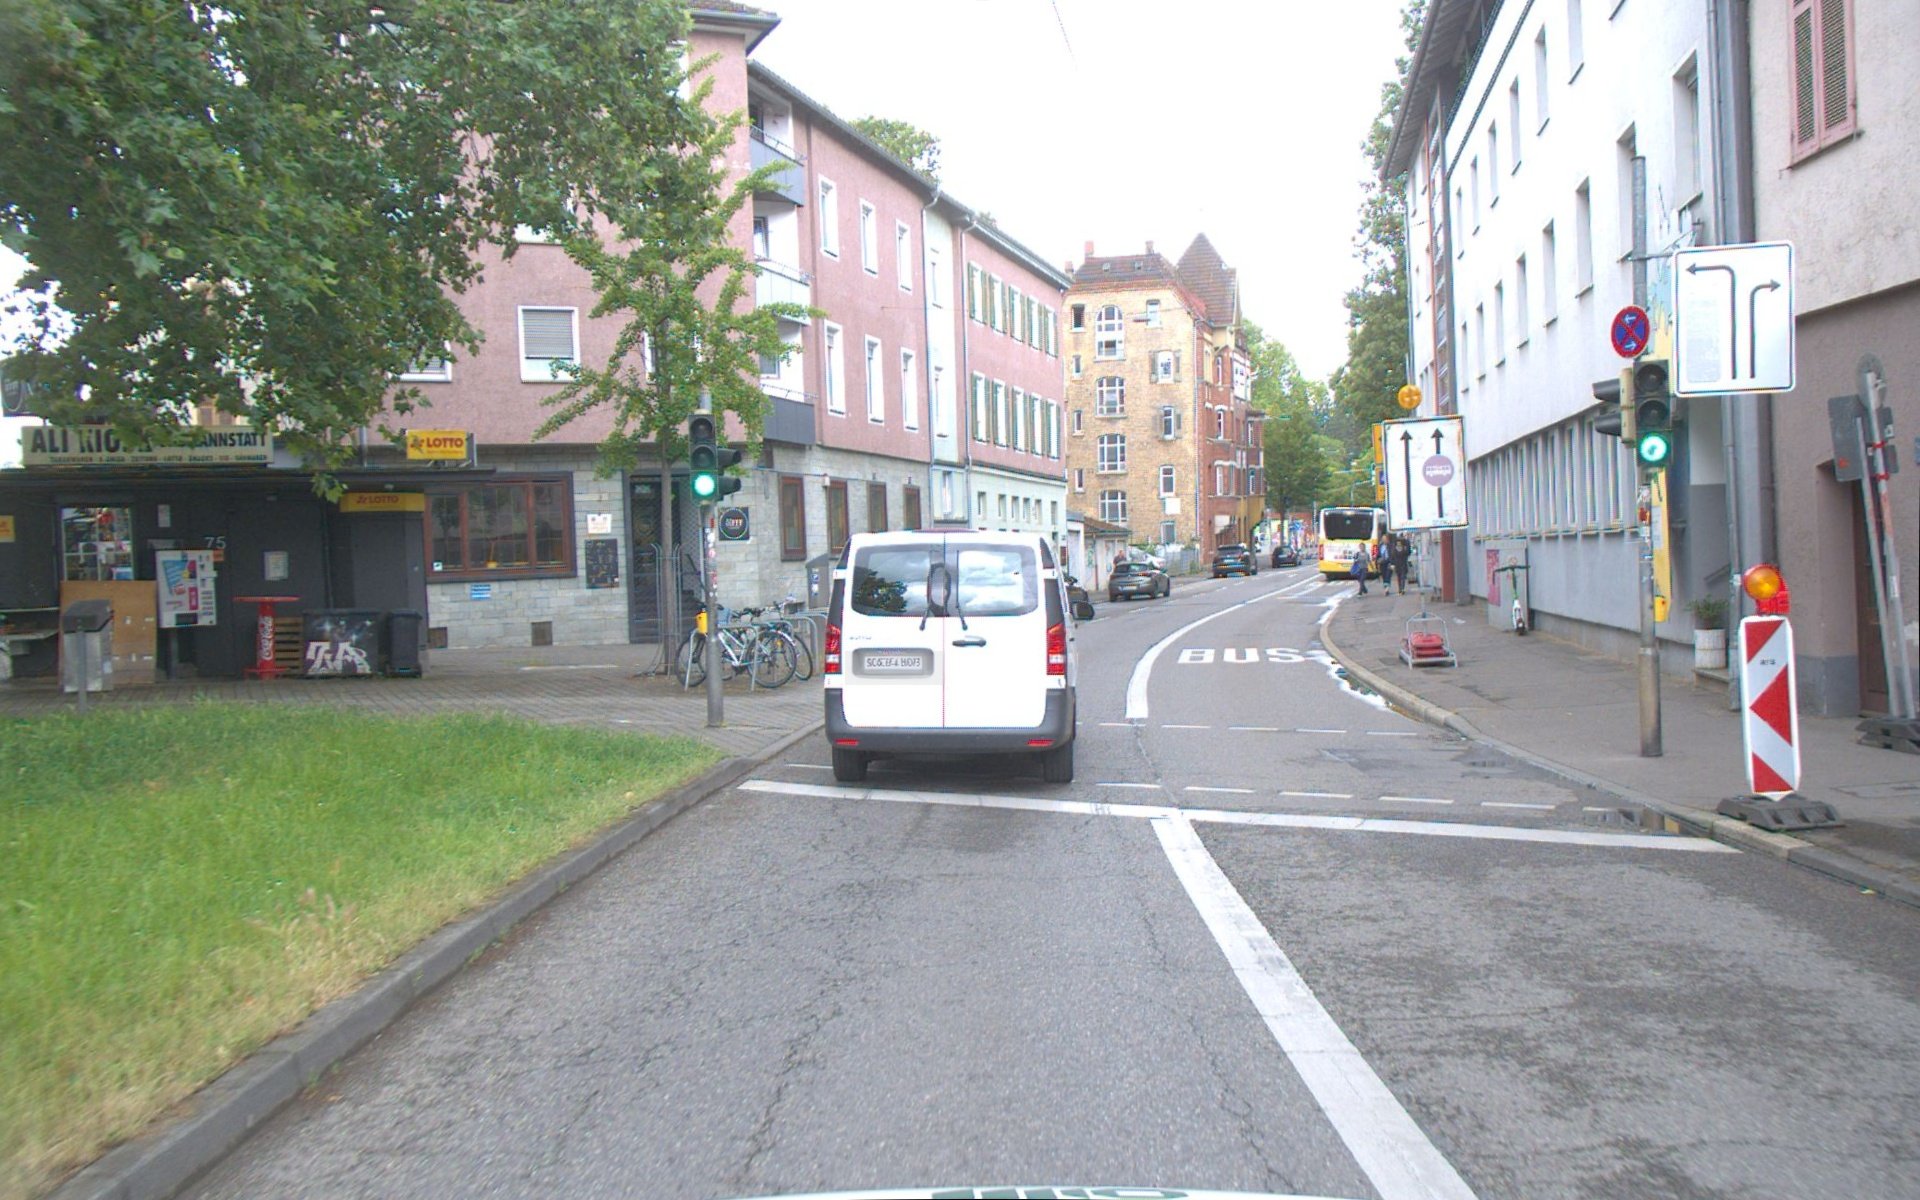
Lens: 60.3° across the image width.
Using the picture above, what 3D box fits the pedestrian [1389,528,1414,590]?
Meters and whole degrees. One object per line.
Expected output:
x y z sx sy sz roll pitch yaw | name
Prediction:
13.044 -1.217 48.853 0.531 1.787 0.608 -4 2 24 | pedestrian

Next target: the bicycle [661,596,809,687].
-2.929 0.524 21.548 1.830 1.133 0.578 0 1 14 | bicycle

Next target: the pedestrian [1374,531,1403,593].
12.916 -1.146 49.894 0.672 1.787 0.879 -4 2 11 | pedestrian

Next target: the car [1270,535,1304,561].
22.489 -3.586 113.704 1.688 1.511 4.394 -1 4 18 | car

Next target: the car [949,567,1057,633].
1.142 -0.045 41.258 1.790 1.480 4.589 -2 1 13 | car

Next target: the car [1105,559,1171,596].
6.712 -0.839 61.996 1.951 1.312 4.003 0 1 14 | car

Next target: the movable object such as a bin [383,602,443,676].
-7.799 0.548 23.555 0.663 0.981 1.070 1 1 -26 | movable object such as a bin

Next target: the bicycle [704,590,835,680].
-2.621 0.470 22.810 1.767 1.197 0.723 0 1 -8 | bicycle

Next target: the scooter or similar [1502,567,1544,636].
9.697 0.009 28.537 0.419 1.116 1.440 -4 2 10 | scooter or similar

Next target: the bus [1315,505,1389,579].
18.053 -2.702 75.792 2.606 3.190 10.048 0 2 17 | bus

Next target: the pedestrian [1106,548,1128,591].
6.467 -1.272 68.235 0.745 1.774 0.985 0 1 15 | pedestrian

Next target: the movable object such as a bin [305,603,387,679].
-8.603 0.567 23.142 0.953 0.981 1.104 1 1 -27 | movable object such as a bin

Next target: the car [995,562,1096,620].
2.466 -0.286 46.473 1.790 1.480 4.925 -2 1 15 | car

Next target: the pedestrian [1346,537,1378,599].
12.266 -0.984 50.513 0.786 1.824 0.944 -4 2 11 | pedestrian

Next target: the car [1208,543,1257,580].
14.567 -2.086 88.237 1.912 1.763 4.778 -2 2 17 | car

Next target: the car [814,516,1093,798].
0.135 0.367 13.878 1.877 1.934 4.705 1 1 5 | car
